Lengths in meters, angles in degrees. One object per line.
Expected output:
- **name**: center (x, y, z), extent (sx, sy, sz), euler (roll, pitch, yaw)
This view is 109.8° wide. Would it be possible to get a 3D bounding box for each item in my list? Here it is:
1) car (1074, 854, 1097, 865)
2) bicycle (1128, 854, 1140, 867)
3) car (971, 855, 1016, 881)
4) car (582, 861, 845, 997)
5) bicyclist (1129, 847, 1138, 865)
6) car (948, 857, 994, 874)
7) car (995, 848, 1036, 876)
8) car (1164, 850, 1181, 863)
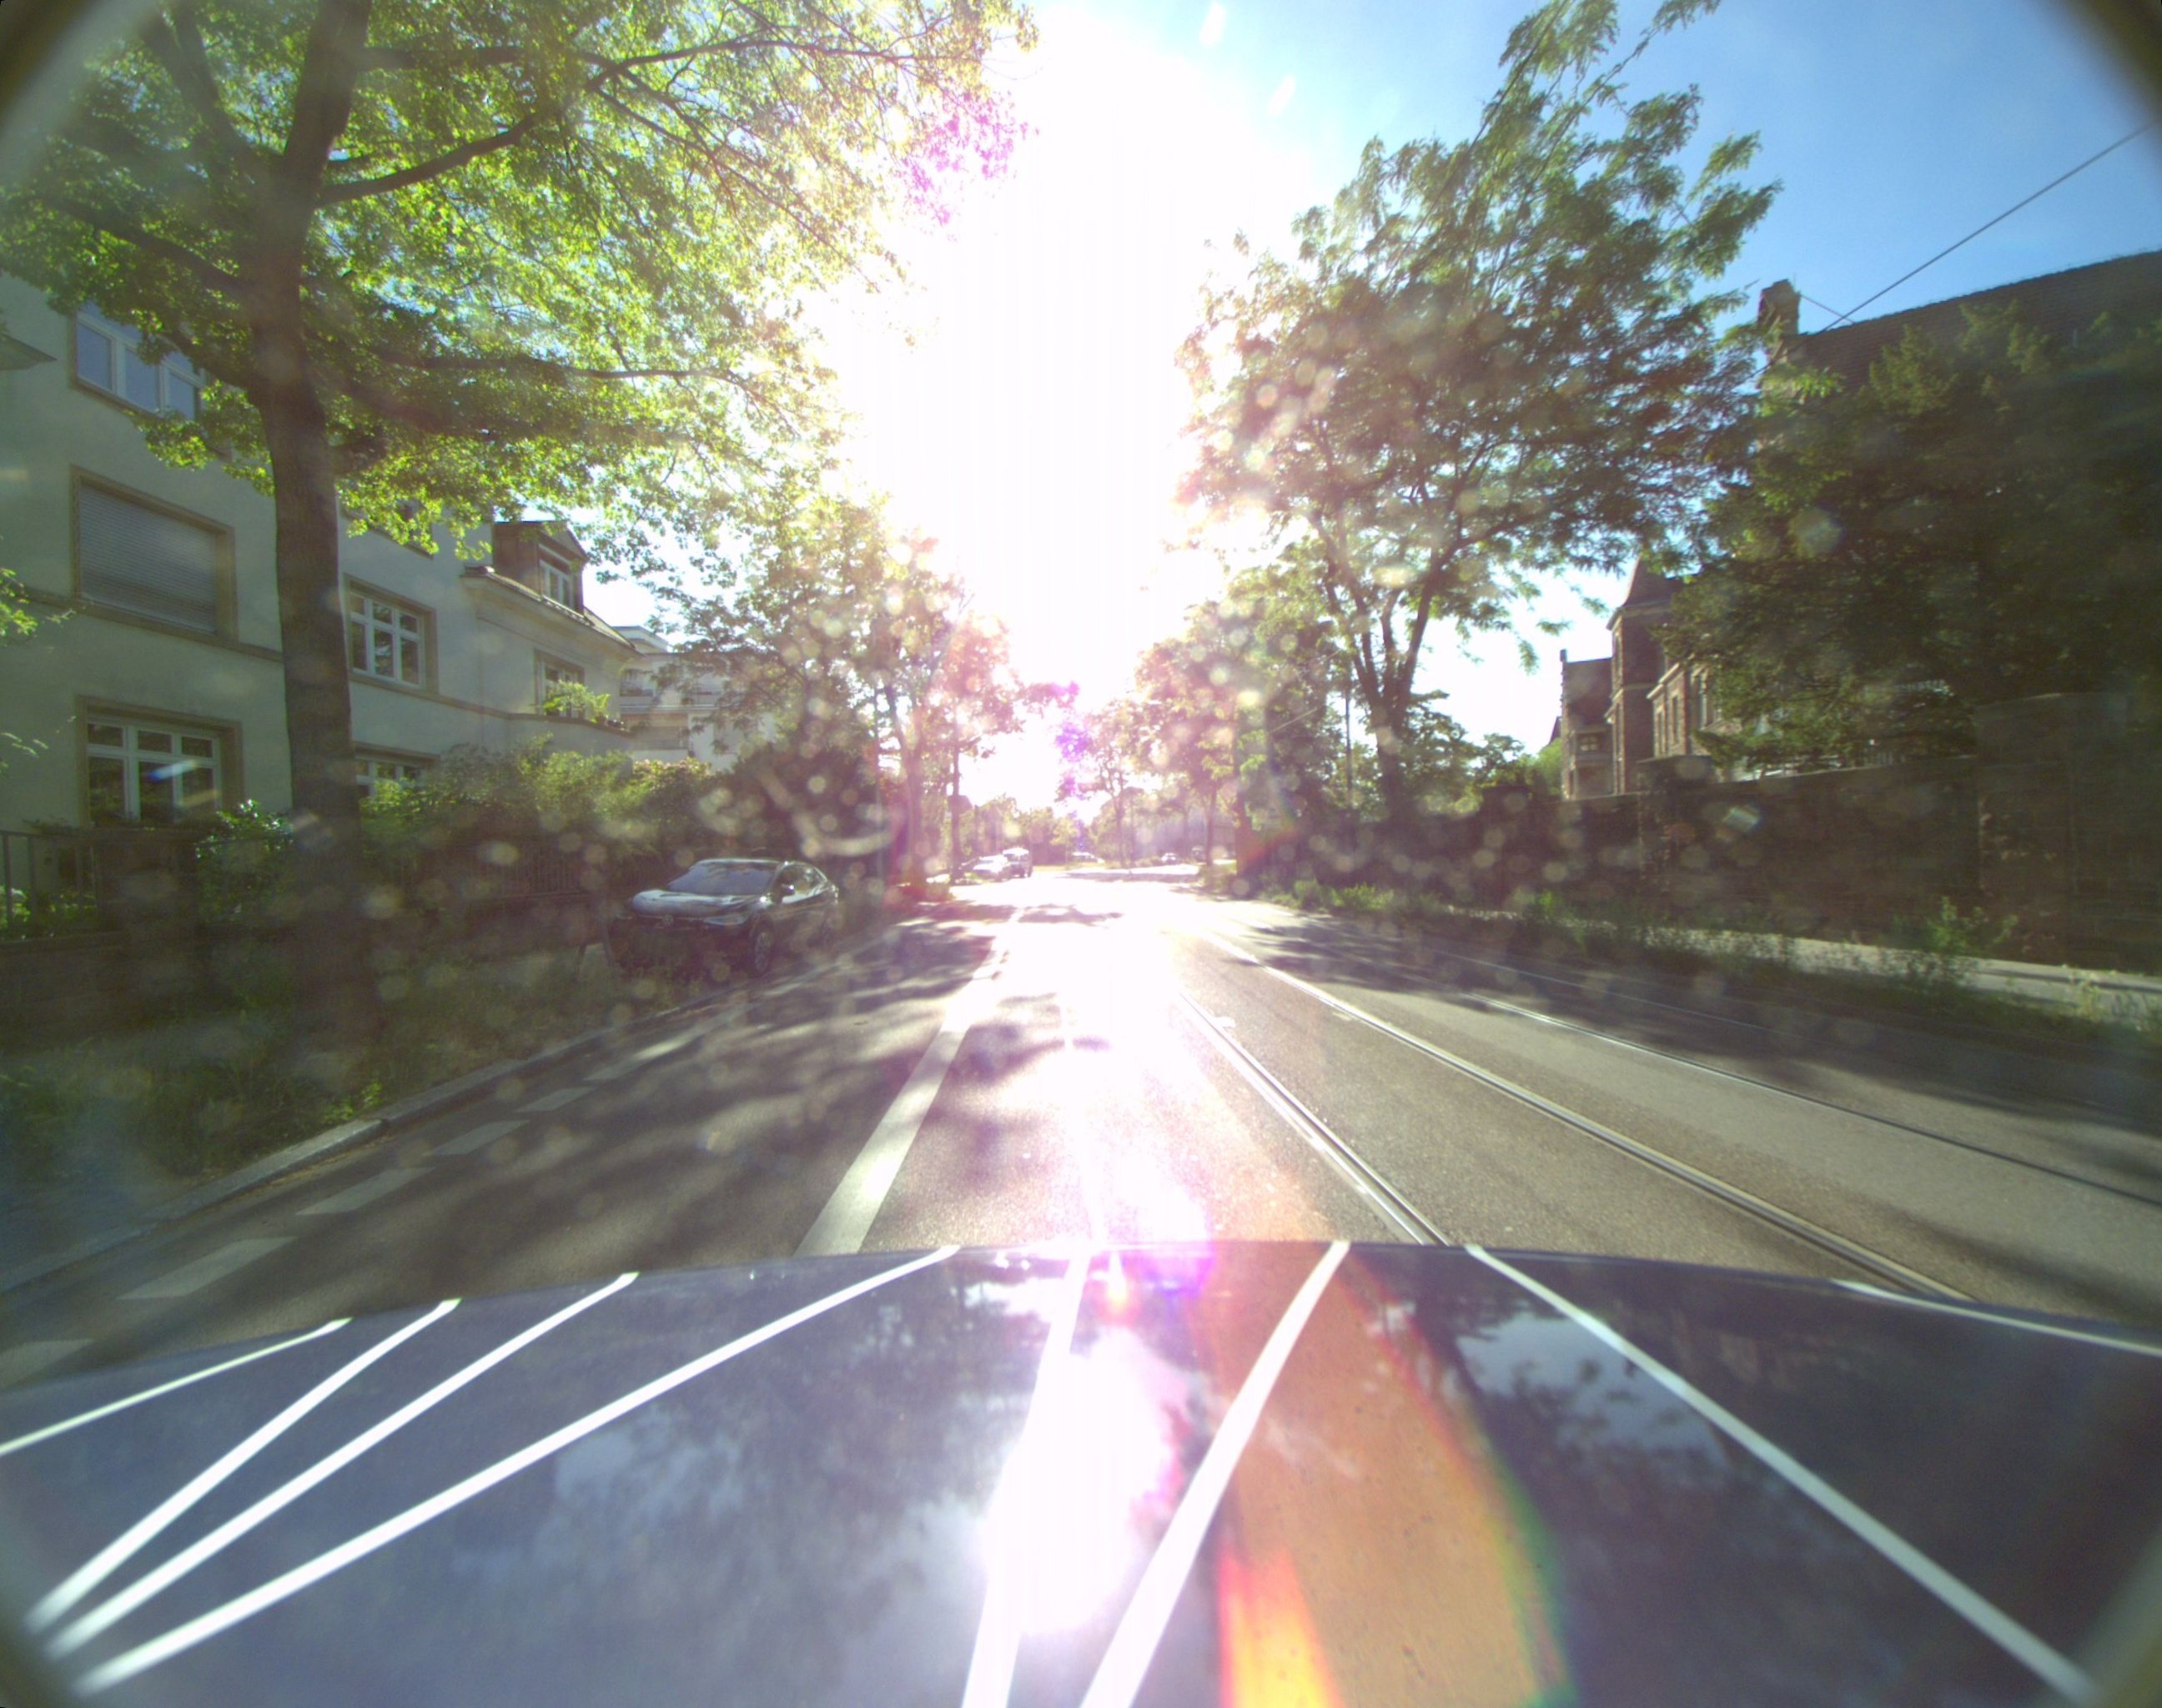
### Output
- **car**: center (0.757, 0.926, 128.795), extent (3.908, 1.683, 1.905), euler (-1, 0, -1)
- **bicycle**: center (4.857, 0.586, 69.505), extent (0.588, 1.105, 1.857), euler (-1, 0, 19)
- **car**: center (-5.164, 0.797, 45.339), extent (1.901, 1.402, 4.260), euler (-1, 0, 4)
- **car**: center (-5.199, 0.948, 11.513), extent (1.919, 1.590, 4.258), euler (2, 0, -1)
- **bicyclist**: center (4.823, 0.153, 69.484), extent (0.643, 1.632, 0.666), euler (-2, 1, 20)
- **car**: center (-10.040, 1.050, 69.545), extent (3.998, 1.433, 1.813), euler (-2, 0, -3)
- **car**: center (-4.401, 0.509, 51.695), extent (1.900, 1.775, 4.670), euler (-1, 0, 6)
- **car**: center (11.918, 0.323, 98.726), extent (1.997, 1.539, 4.002), euler (-2, 0, 8)
